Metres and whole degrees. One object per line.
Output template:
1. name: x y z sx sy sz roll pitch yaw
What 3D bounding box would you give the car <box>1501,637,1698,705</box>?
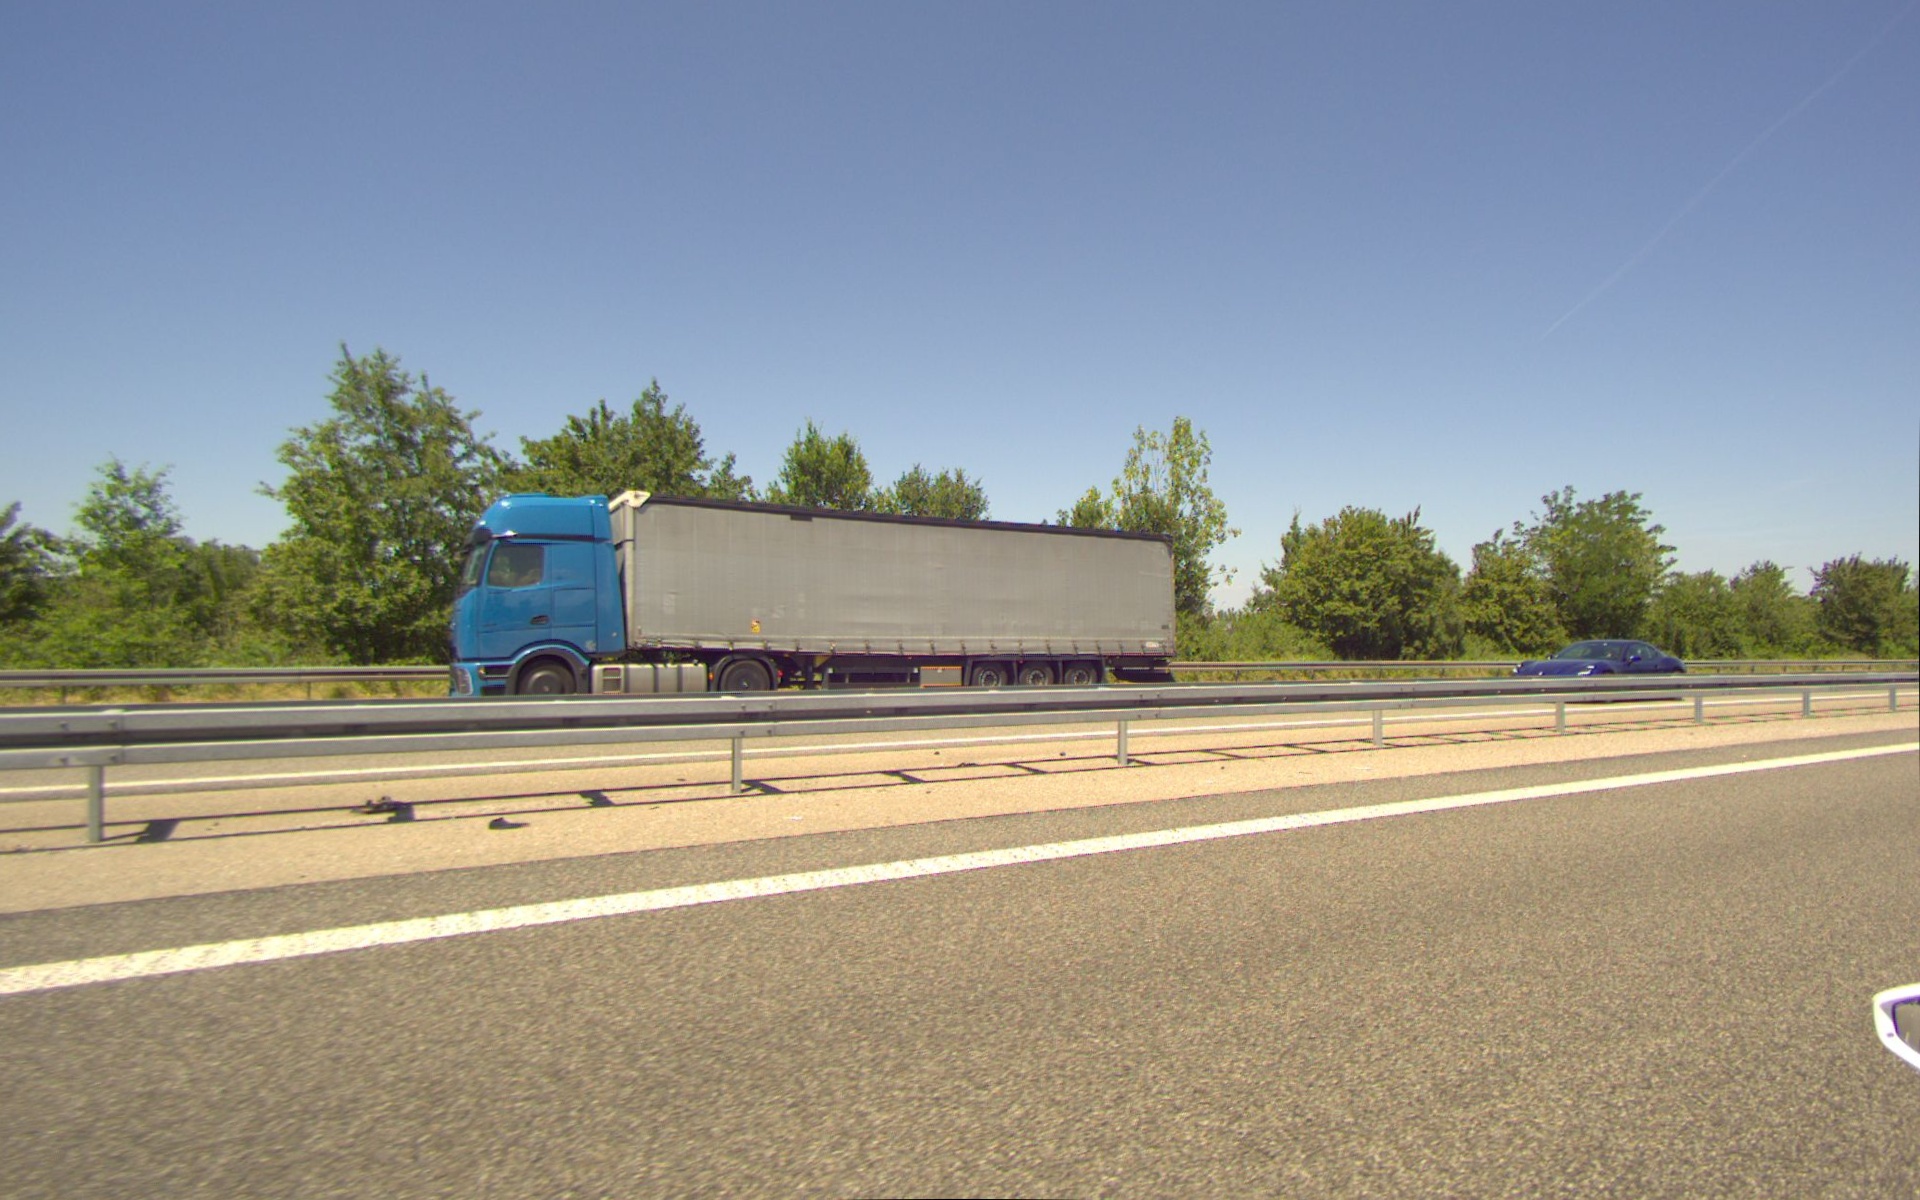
1. car: 14.514 1.584 22.732 4.688 1.413 1.841 2 -4 -31

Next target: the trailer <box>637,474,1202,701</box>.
1. trailer: -0.361 -0.089 23.607 13.385 4.242 3.281 1 -2 -31

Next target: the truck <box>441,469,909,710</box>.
1. truck: -5.601 -0.100 20.416 8.625 4.039 3.236 1 -1 -31
